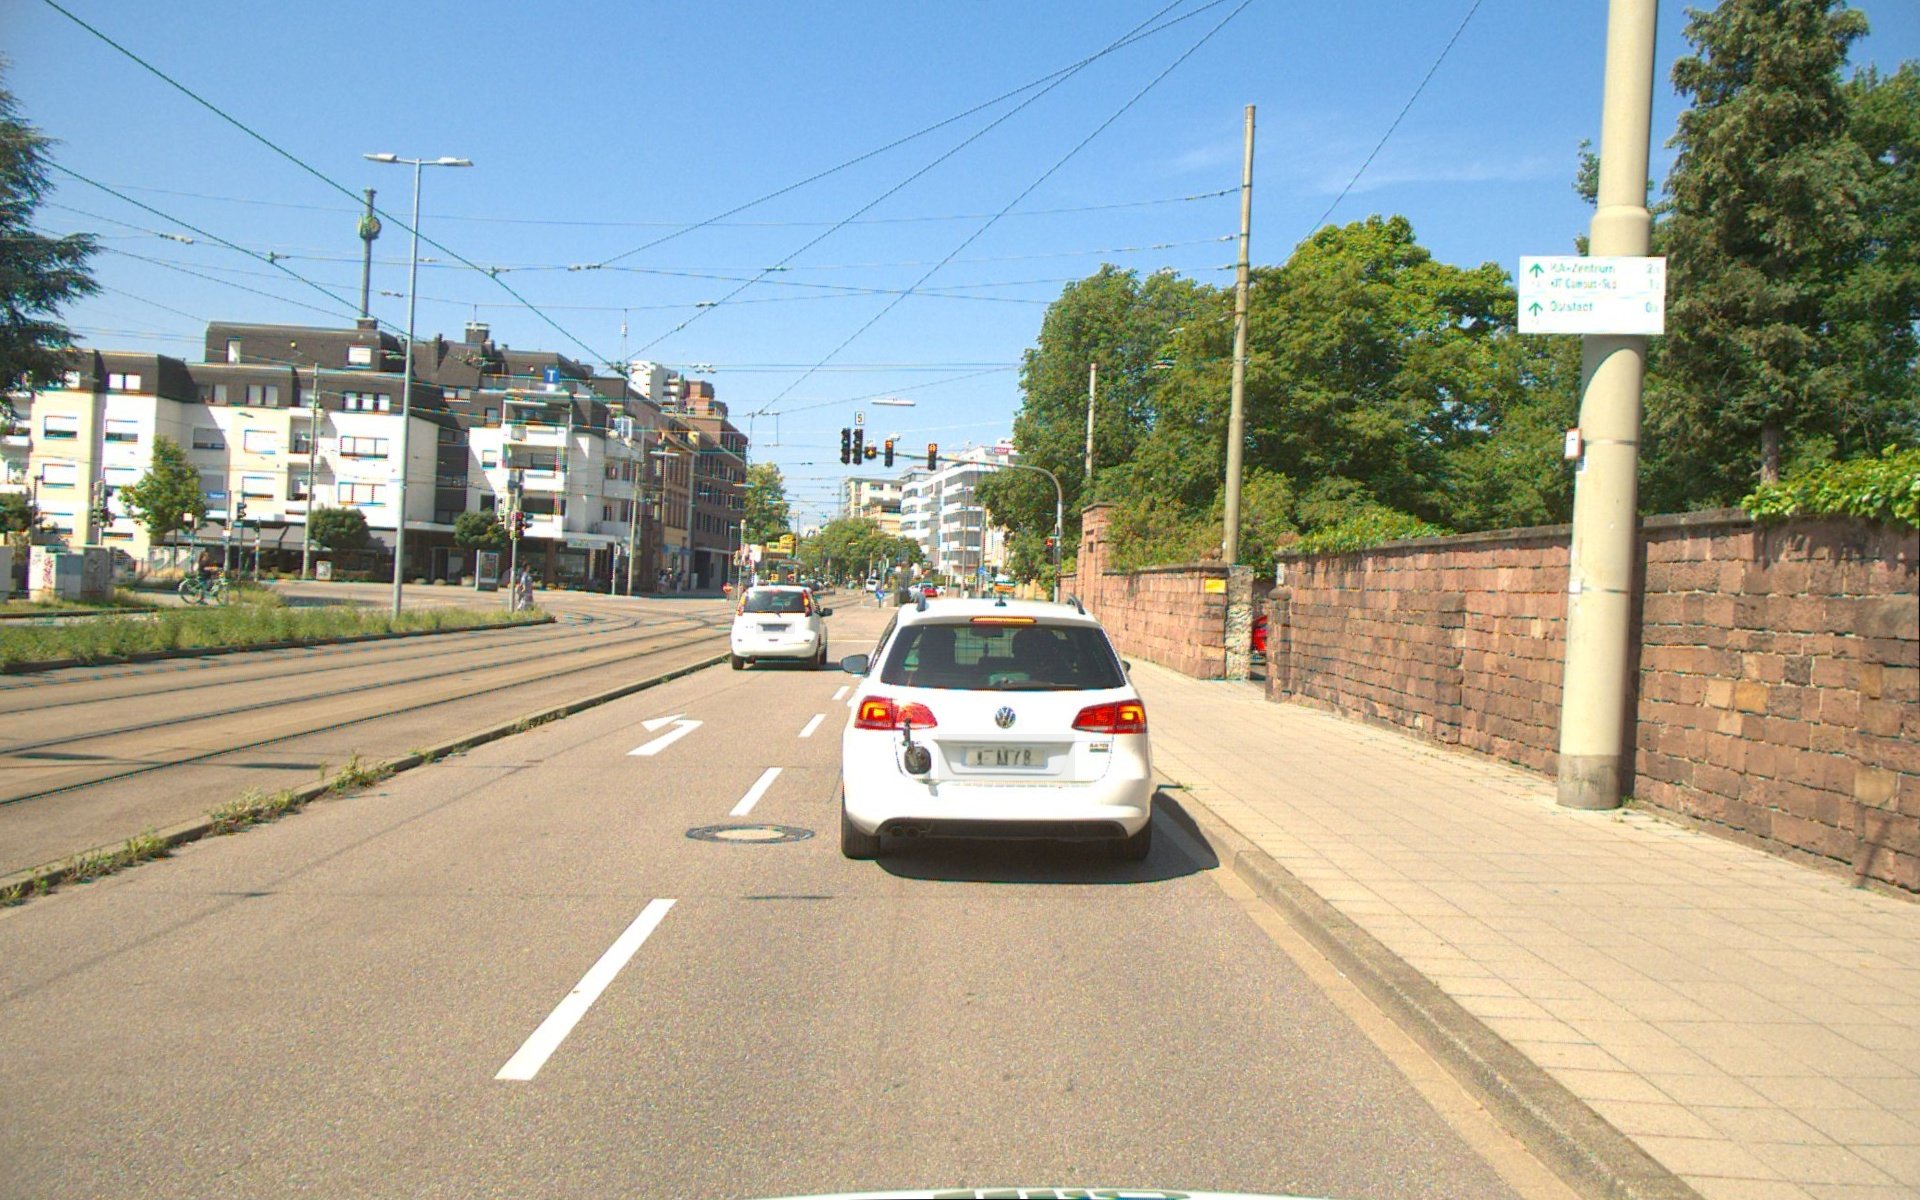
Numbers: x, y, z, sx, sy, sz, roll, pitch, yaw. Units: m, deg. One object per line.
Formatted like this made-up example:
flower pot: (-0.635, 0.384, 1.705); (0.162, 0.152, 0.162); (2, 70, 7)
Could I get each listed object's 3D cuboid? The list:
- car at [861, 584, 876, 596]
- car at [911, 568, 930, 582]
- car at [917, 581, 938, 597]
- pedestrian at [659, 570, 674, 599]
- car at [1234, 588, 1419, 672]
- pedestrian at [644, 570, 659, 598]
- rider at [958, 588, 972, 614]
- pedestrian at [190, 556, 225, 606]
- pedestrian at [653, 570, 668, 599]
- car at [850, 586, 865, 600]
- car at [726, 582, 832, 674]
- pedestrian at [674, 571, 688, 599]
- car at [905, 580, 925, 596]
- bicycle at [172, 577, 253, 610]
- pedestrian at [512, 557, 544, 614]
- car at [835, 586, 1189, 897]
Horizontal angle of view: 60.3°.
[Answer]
car: (-13.120, -1.450, 236.380); (1.668, 1.619, 3.525); (2, 0, -11)
car: (-5.850, -3.693, 244.962); (1.960, 2.049, 3.985); (2, 0, -15)
car: (-4.562, -1.507, 230.357); (1.960, 2.049, 3.985); (2, 0, -15)
pedestrian: (-21.788, -1.146, 122.722); (0.919, 2.049, 0.989); (2, 0, -6)
car: (7.343, 0.584, 33.332); (3.338, 1.489, 1.524); (3, 0, -1)
pedestrian: (-22.734, -1.173, 122.007); (0.918, 2.049, 0.989); (2, 0, -5)
rider: (0.355, 0.042, 114.232); (0.873, 1.758, 2.203); (2, 0, 0)
pedestrian: (-23.123, -0.585, 50.798); (0.809, 1.513, 0.557); (2, 0, -44)
pedestrian: (-21.531, -1.115, 118.845); (0.918, 2.049, 0.989); (2, 0, -5)
car: (-12.552, -0.904, 203.344); (1.664, 1.619, 3.533); (2, 0, -2)
car: (-3.477, 0.493, 32.374); (1.695, 1.624, 4.010); (2, 0, -2)
pedestrian: (-20.995, -1.124, 124.459); (0.919, 2.049, 0.989); (2, 0, -7)
car: (-6.005, -1.621, 219.877); (1.958, 1.937, 3.989); (2, 0, -12)
bicycle: (-22.763, -0.181, 50.394); (2.160, 0.937, 0.544); (2, 0, -44)
pedestrian: (-13.762, -0.455, 52.706); (0.811, 1.769, 0.930); (2, 0, -9)
car: (0.254, 0.697, 10.213); (1.742, 1.516, 3.846); (1, 0, 0)
